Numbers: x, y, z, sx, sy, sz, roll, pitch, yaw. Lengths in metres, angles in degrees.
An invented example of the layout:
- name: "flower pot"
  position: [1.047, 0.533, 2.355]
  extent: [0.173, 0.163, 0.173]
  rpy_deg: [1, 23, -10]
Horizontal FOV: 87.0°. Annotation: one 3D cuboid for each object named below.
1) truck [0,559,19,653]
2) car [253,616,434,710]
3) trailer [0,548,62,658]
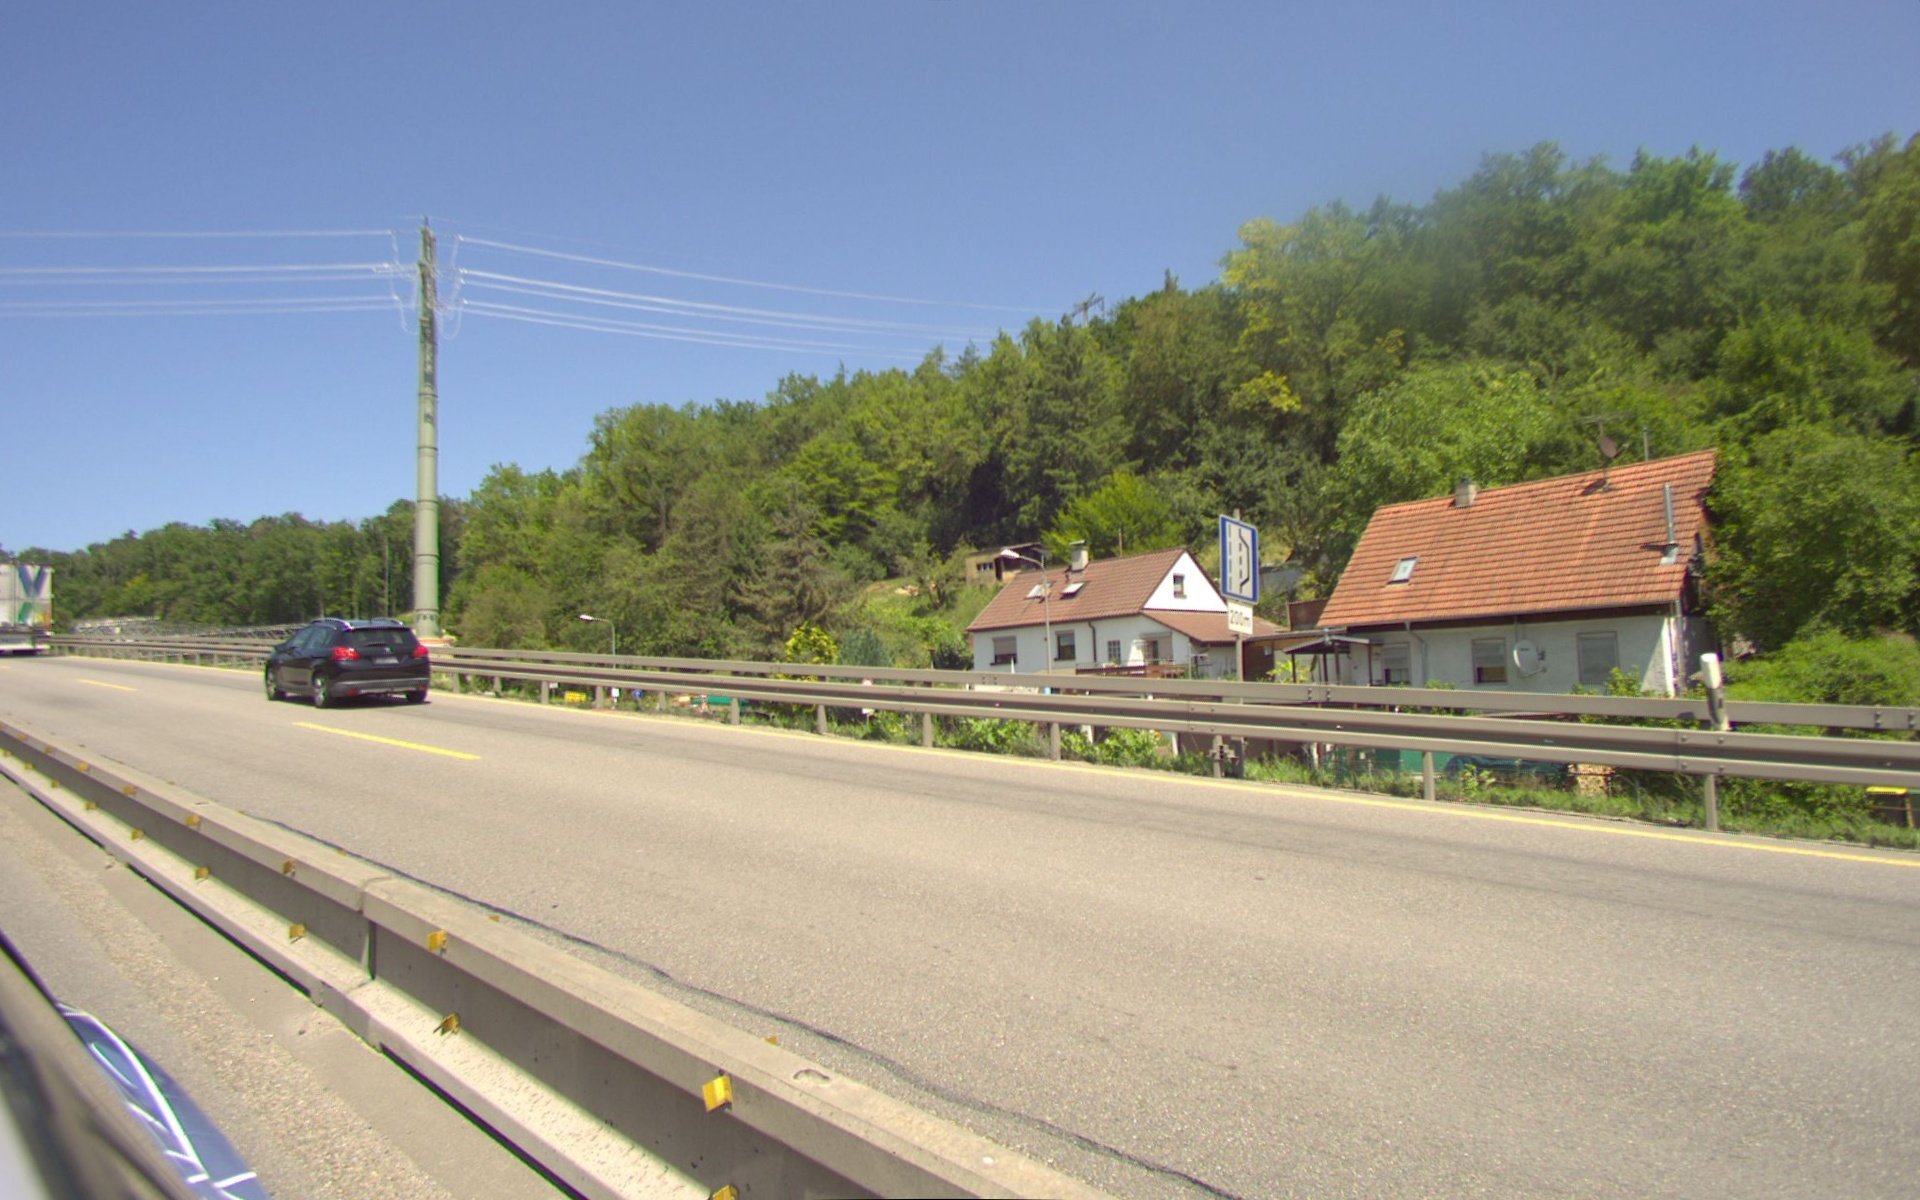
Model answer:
- name: "truck"
  position: [-48.791, 0.325, 49.221]
  extent: [8.292, 4.395, 3.271]
  rpy_deg: [-1, 0, 39]
- name: "car"
  position: [-11.221, 1.123, 18.319]
  extent: [3.998, 1.501, 1.714]
  rpy_deg: [-4, -3, 41]
- name: "trailer"
  position: [-44.029, 0.193, 45.417]
  extent: [14.041, 4.411, 3.220]
  rpy_deg: [-1, 0, 39]
